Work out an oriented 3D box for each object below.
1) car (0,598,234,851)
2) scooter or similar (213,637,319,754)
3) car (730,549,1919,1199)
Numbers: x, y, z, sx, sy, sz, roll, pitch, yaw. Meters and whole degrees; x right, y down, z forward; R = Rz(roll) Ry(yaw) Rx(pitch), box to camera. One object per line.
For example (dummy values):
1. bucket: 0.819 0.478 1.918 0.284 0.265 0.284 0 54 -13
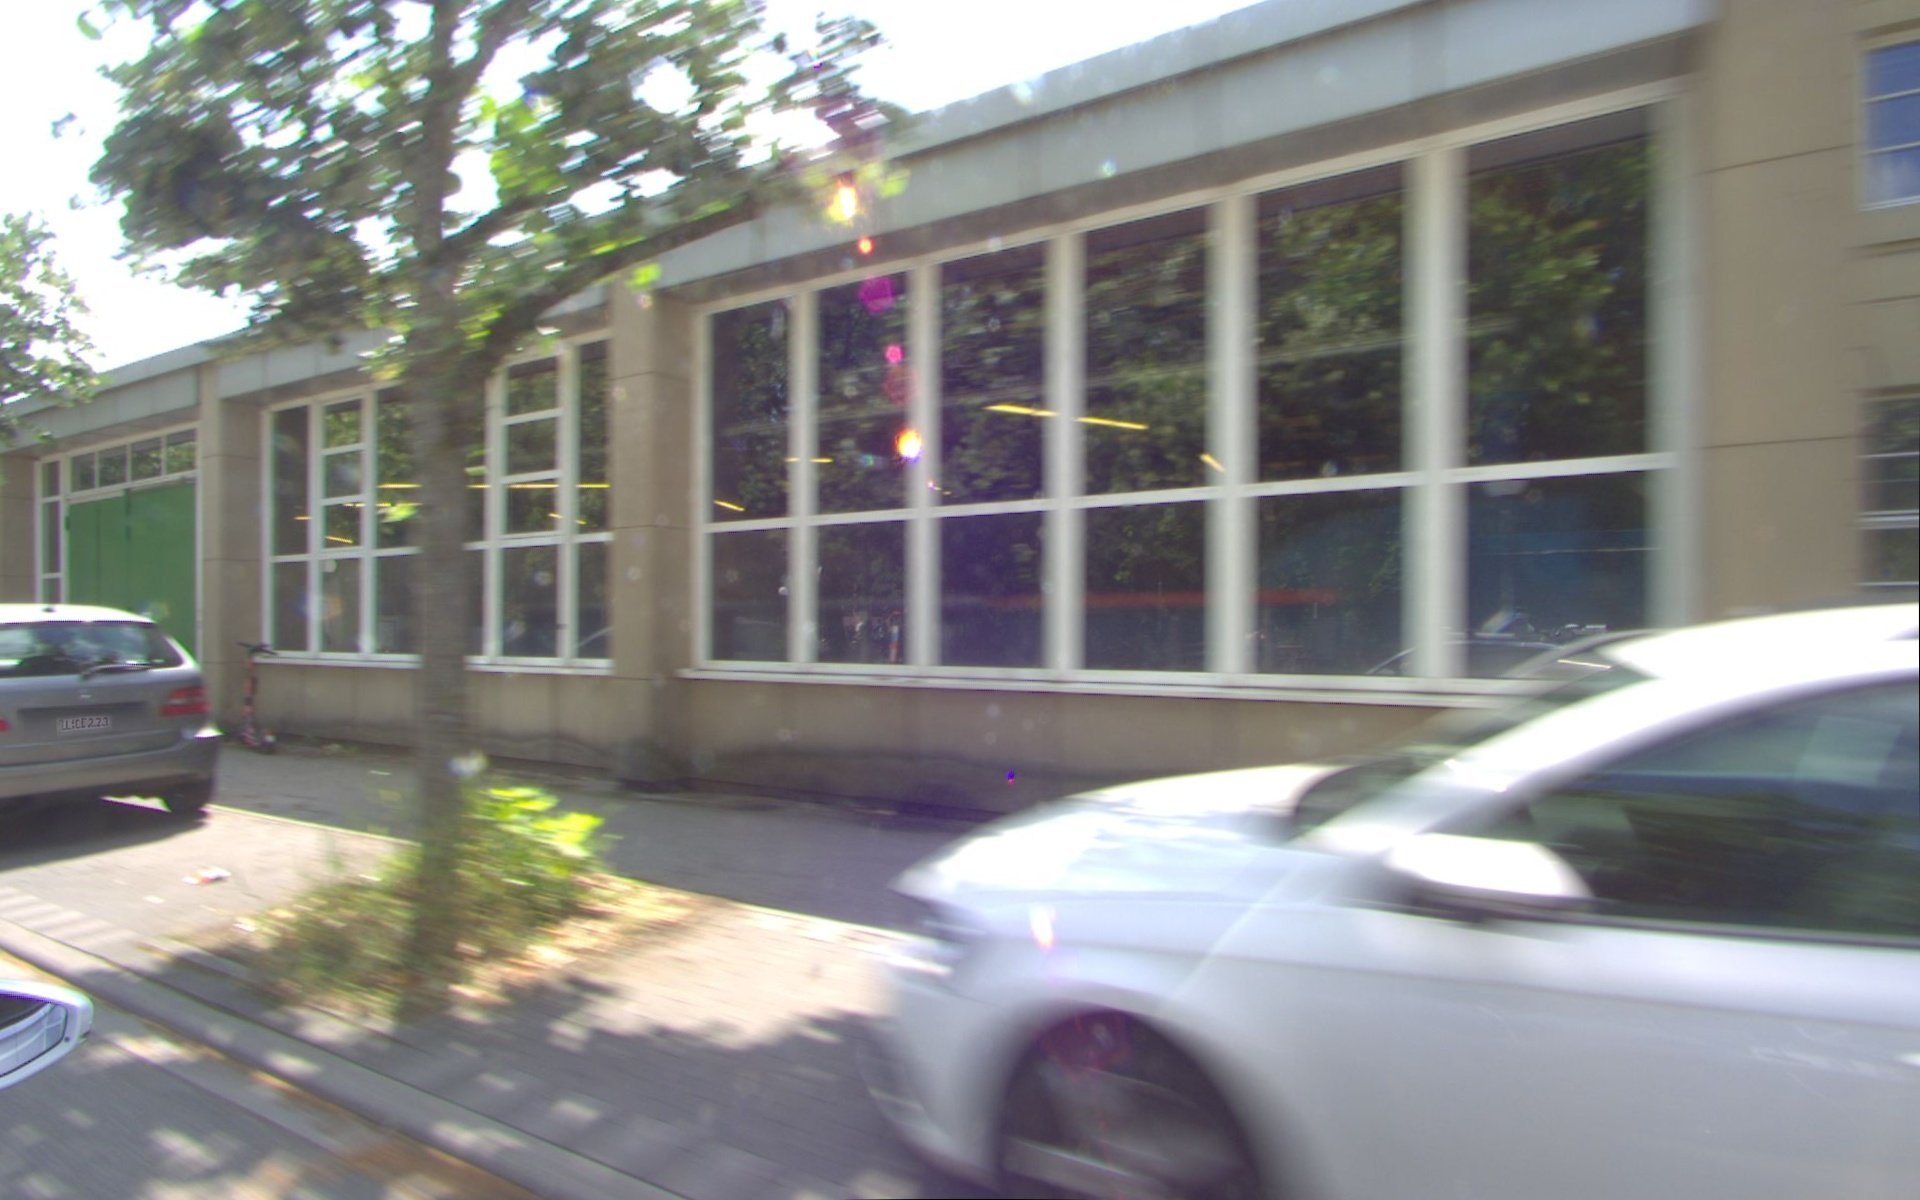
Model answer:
1. car: -7.606 0.813 7.753 4.078 1.595 1.702 -1 0 30
2. scooter or similar: -7.844 1.046 11.302 1.471 1.233 0.415 -1 1 32
3. car: 1.841 0.675 2.108 4.601 1.486 1.723 -1 0 30
